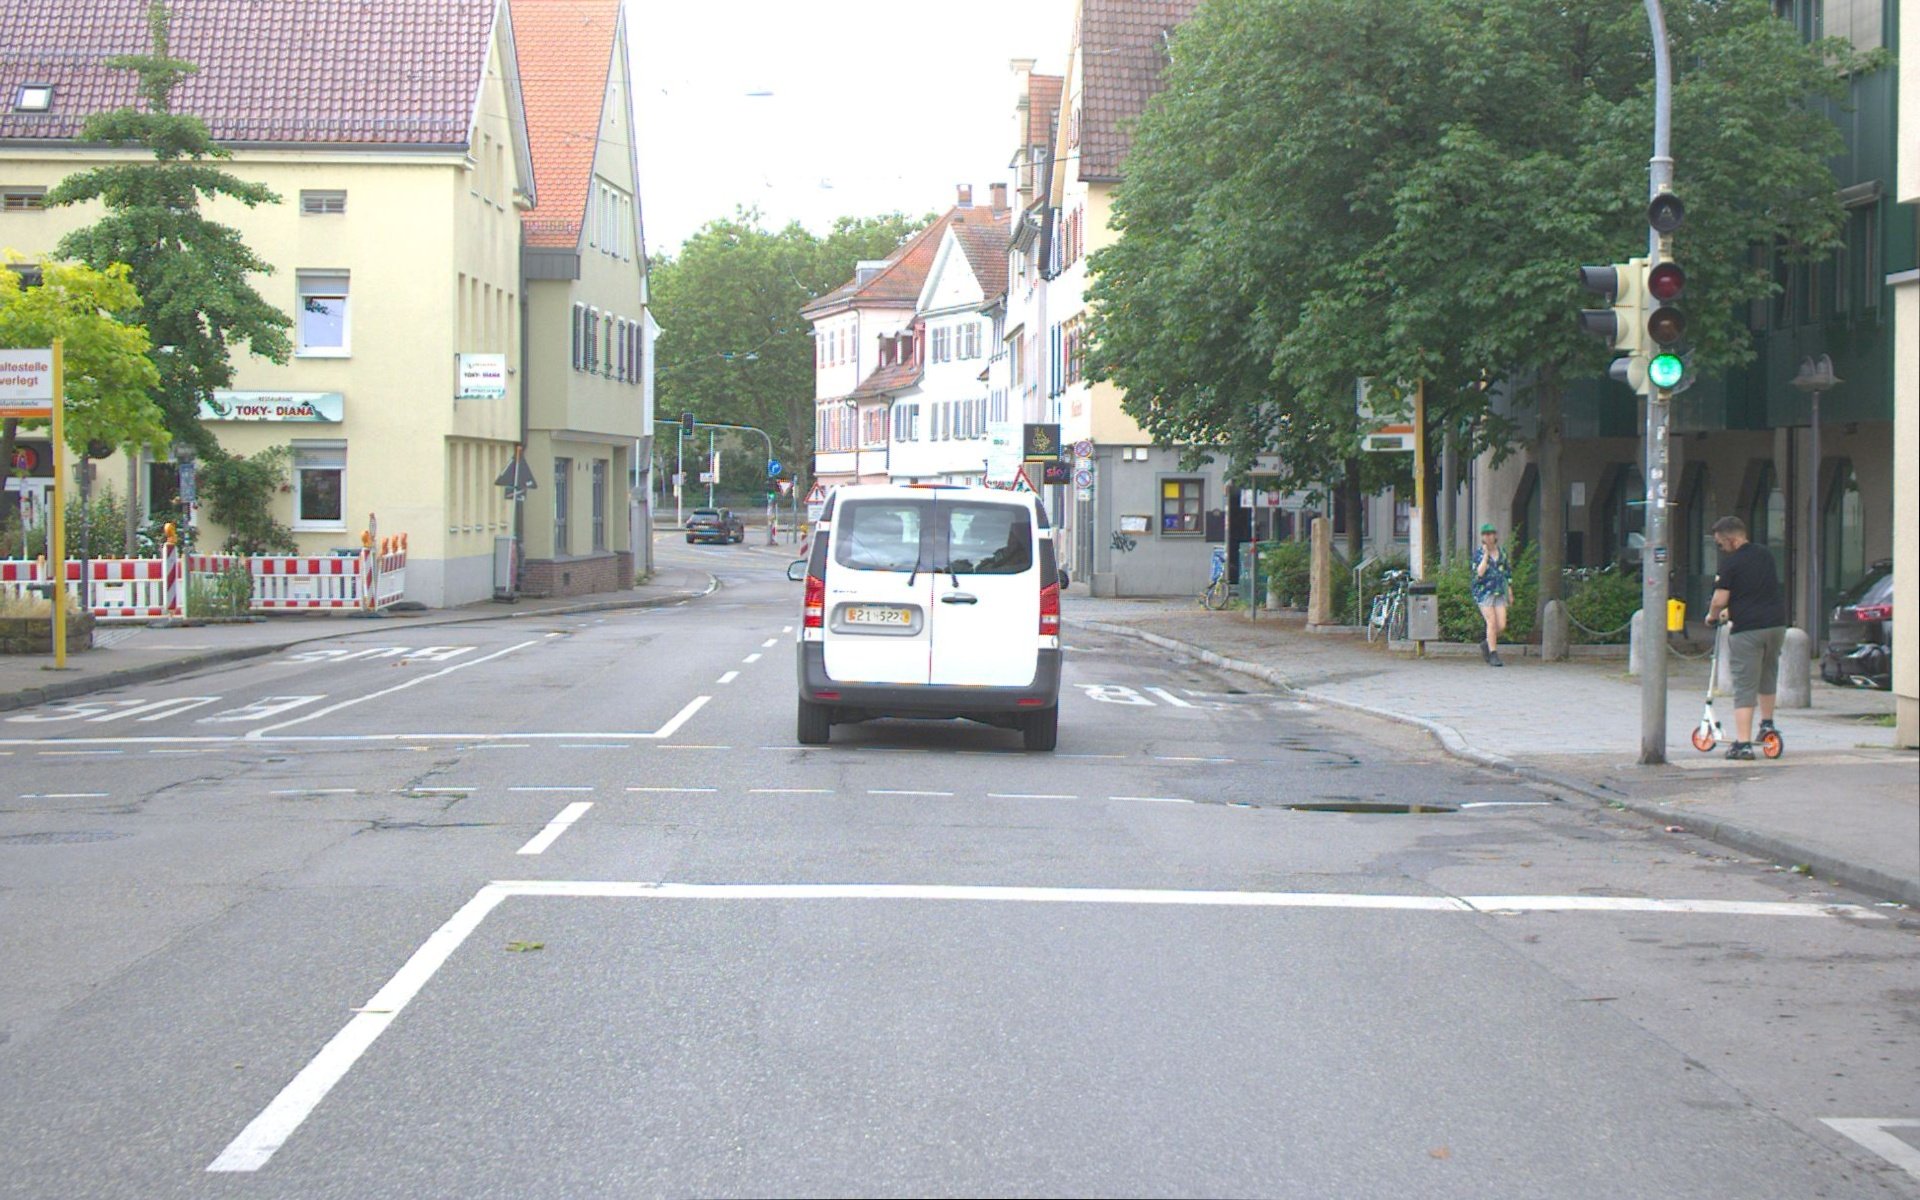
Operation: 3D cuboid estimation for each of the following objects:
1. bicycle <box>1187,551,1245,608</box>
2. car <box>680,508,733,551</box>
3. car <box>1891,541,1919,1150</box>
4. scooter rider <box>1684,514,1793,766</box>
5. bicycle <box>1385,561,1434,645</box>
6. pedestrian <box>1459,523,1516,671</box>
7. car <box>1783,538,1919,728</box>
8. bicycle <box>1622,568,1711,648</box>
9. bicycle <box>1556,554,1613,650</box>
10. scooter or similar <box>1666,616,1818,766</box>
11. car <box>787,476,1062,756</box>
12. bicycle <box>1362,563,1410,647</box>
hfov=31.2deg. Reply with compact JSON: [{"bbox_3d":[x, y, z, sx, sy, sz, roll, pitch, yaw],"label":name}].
[{"bbox_3d":[5.095,-0.412,68.384,0.499,1.102,1.639,0,1,-21],"label":"bicycle"},{"bbox_3d":[-12.134,-3.384,164.592,1.934,2.007,4.001,1,1,-13],"label":"car"},{"bbox_3d":[3.365,0.669,7.145,1.711,1.555,3.786,1,1,-2],"label":"car"},{"bbox_3d":[5.123,0.261,22.628,0.452,1.626,0.505,-2,0,-15],"label":"scooter rider"},{"bbox_3d":[6.286,0.029,48.149,0.333,1.138,1.959,1,1,-2],"label":"bicycle"},{"bbox_3d":[6.181,-0.038,40.276,0.602,1.710,0.859,1,1,6],"label":"pedestrian"},{"bbox_3d":[9.526,0.317,29.572,4.512,1.568,1.852,2,1,6],"label":"car"},{"bbox_3d":[9.782,0.096,47.657,0.544,1.066,2.292,0,1,-6],"label":"bicycle"},{"bbox_3d":[8.627,0.014,47.507,0.333,1.296,1.959,1,1,-2],"label":"bicycle"},{"bbox_3d":[5.143,0.593,22.657,0.661,0.942,0.820,-2,-1,-12],"label":"scooter or similar"},{"bbox_3d":[-0.236,0.093,25.684,1.872,1.905,4.000,1,1,0],"label":"car"},{"bbox_3d":[5.950,0.062,48.037,0.333,1.137,1.959,1,1,-2],"label":"bicycle"}]
